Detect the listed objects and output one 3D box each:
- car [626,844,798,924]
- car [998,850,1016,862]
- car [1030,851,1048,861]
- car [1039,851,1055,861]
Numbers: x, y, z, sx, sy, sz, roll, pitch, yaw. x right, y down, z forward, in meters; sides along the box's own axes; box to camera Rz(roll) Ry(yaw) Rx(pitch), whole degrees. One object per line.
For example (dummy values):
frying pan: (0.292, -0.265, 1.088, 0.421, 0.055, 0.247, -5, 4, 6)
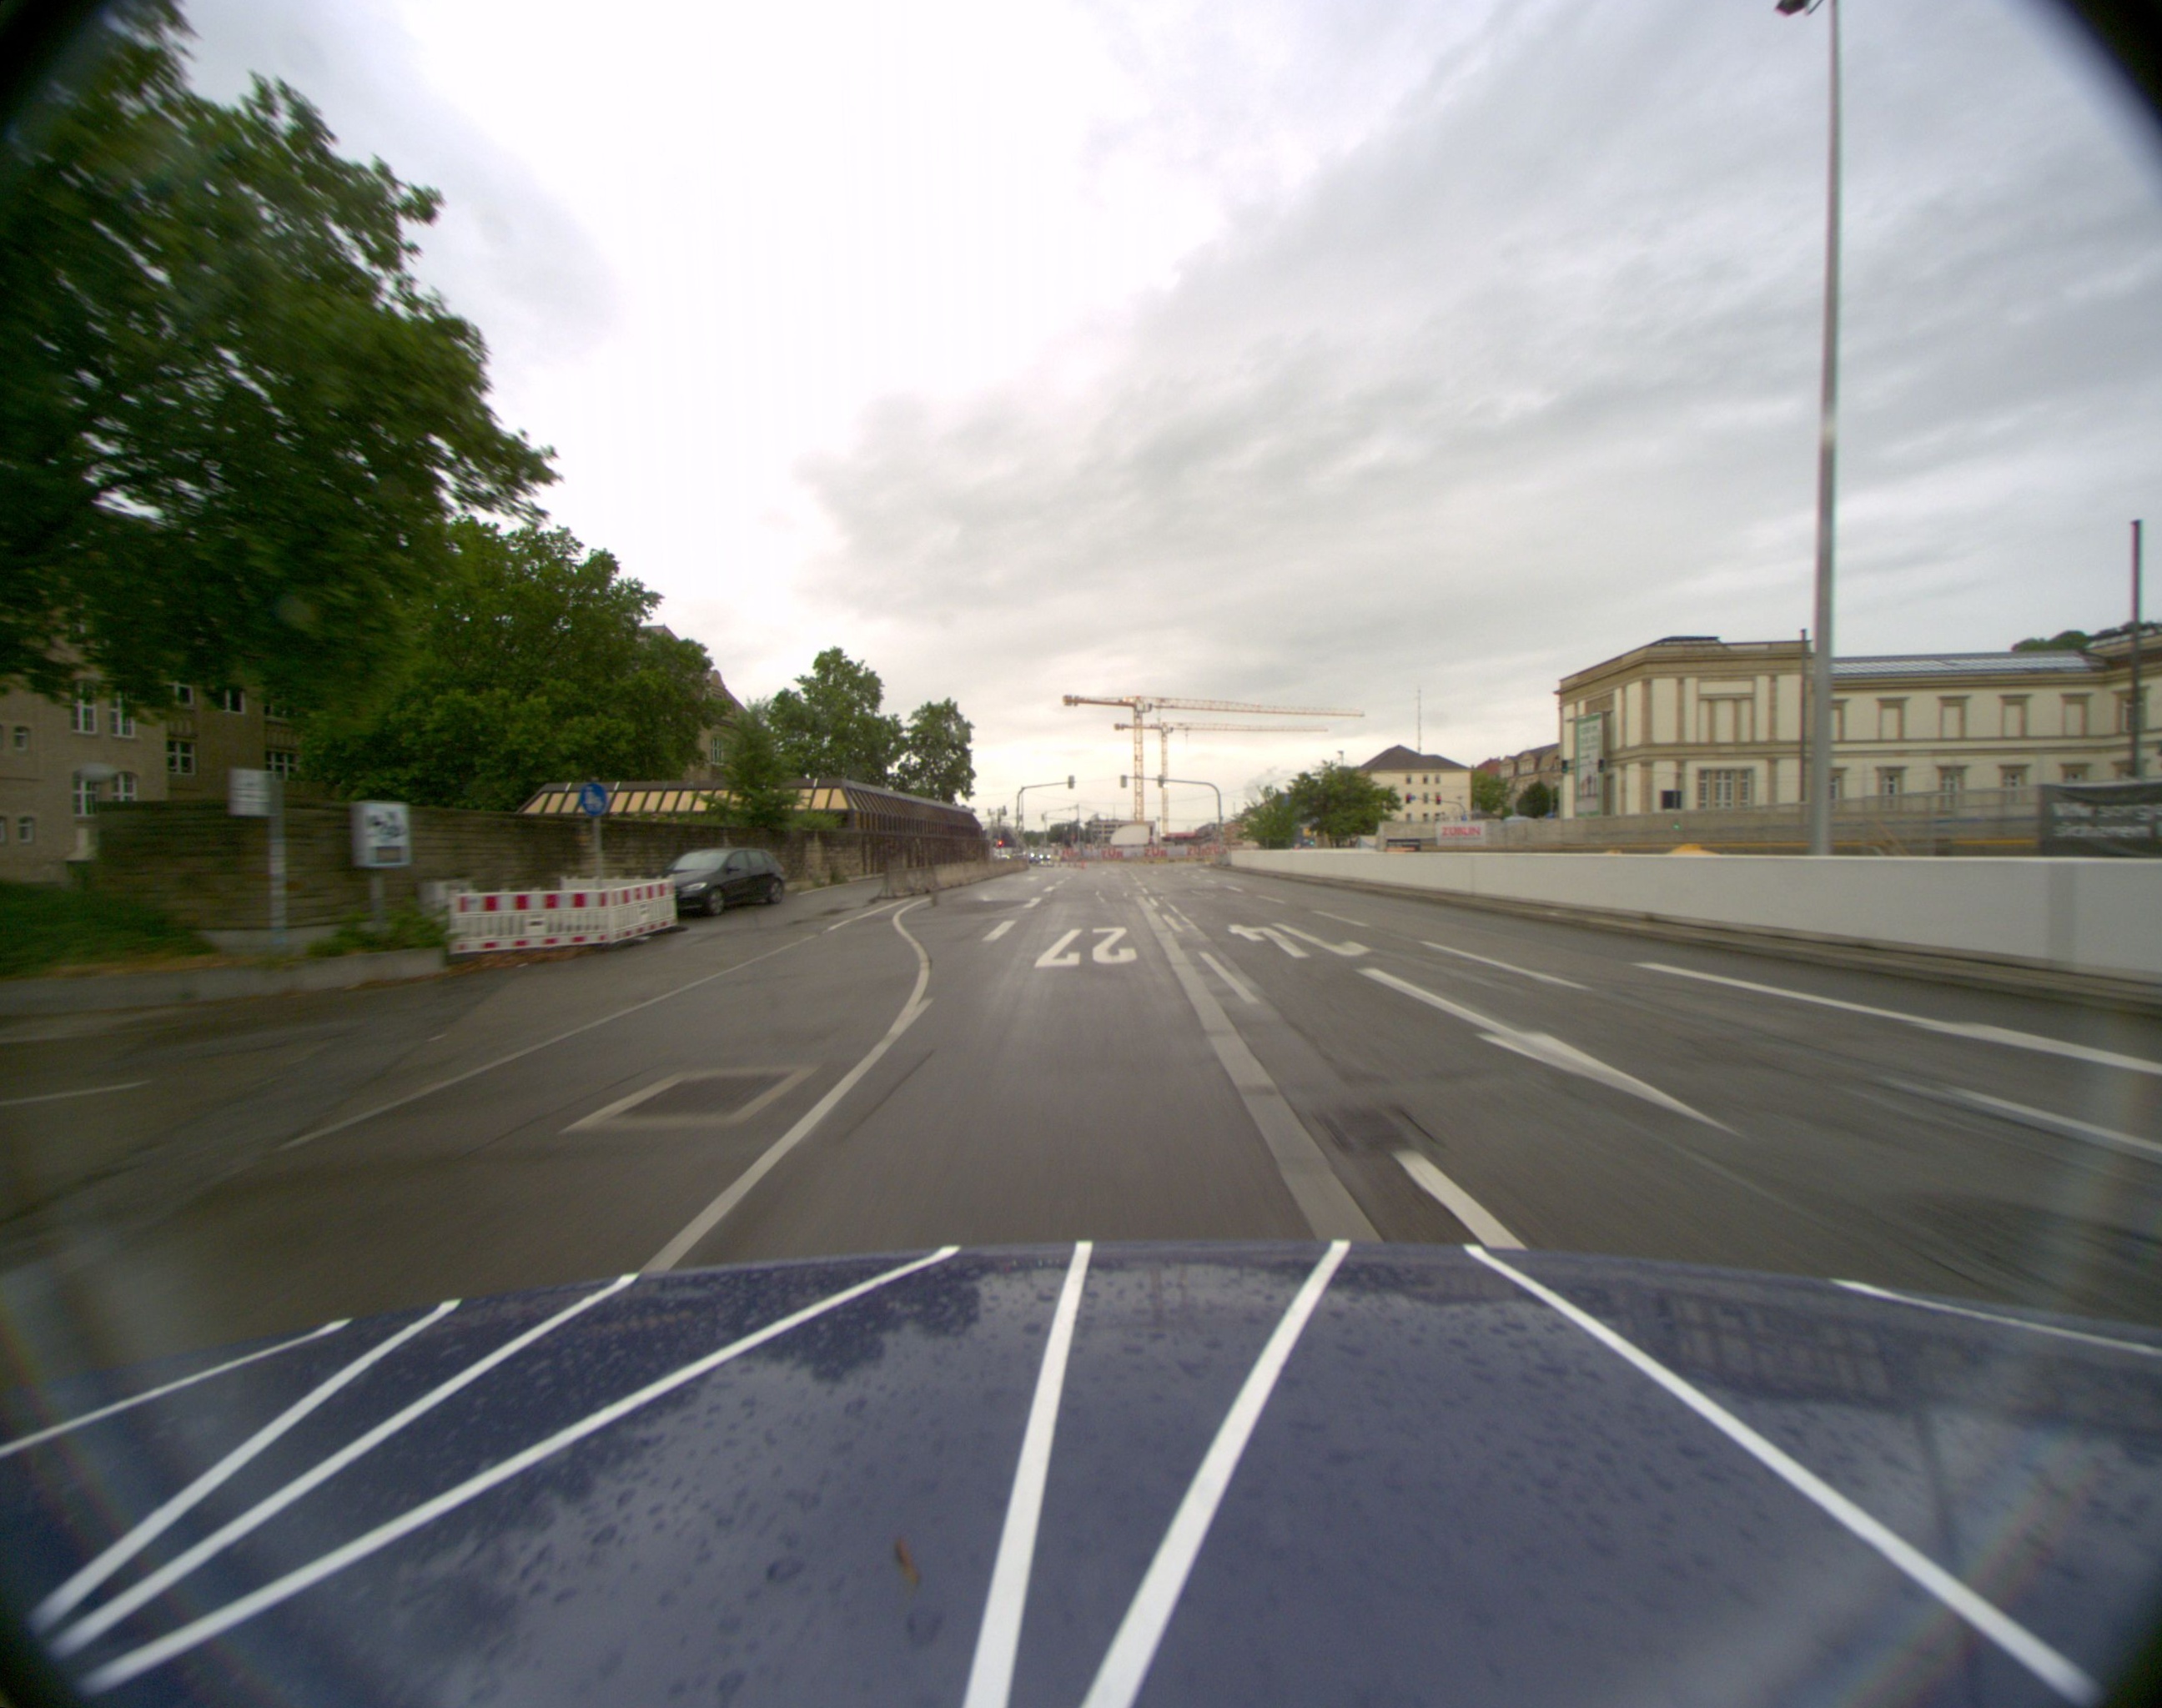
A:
car: (-9.041, 0.638, 19.098, 1.808, 1.544, 4.326, 2, 3, 7)
car: (-12.350, 0.350, 126.830, 2.001, 2.002, 4.416, -3, 0, -19)
car: (-7.502, 0.382, 133.931, 2.001, 1.707, 4.416, -3, 0, -19)
car: (-5.712, 0.345, 128.422, 1.862, 1.557, 3.797, -3, 1, -14)
